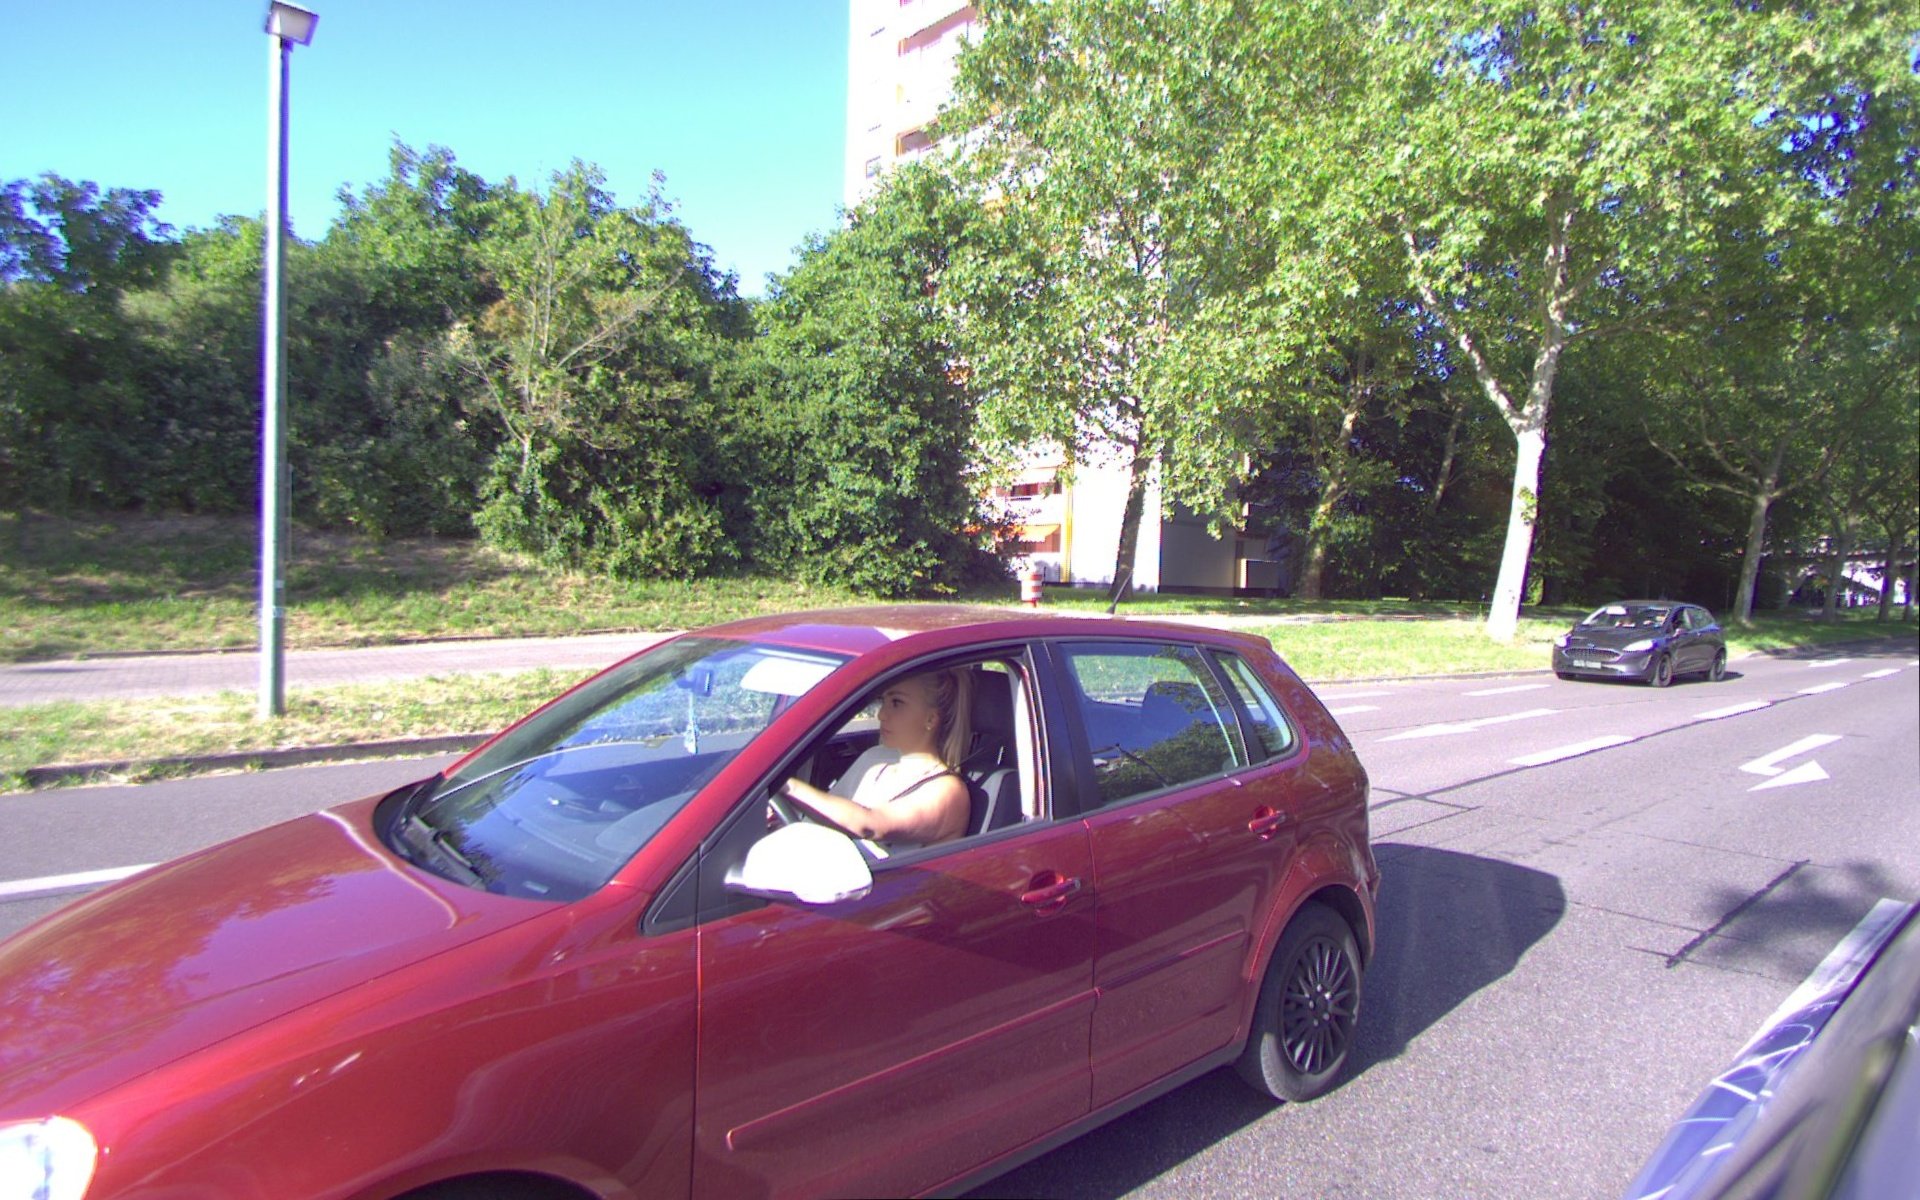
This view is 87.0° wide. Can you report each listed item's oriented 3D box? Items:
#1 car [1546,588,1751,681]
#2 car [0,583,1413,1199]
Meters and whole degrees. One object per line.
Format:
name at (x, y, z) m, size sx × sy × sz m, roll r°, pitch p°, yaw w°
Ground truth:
car at (12.544, 0.556, 18.390) m, size 3.817 × 1.487 × 1.752 m, roll 0°, pitch 1°, yaw -34°
car at (-0.464, 0.694, 2.760) m, size 3.627 × 1.434 × 1.626 m, roll 0°, pitch 1°, yaw -39°
